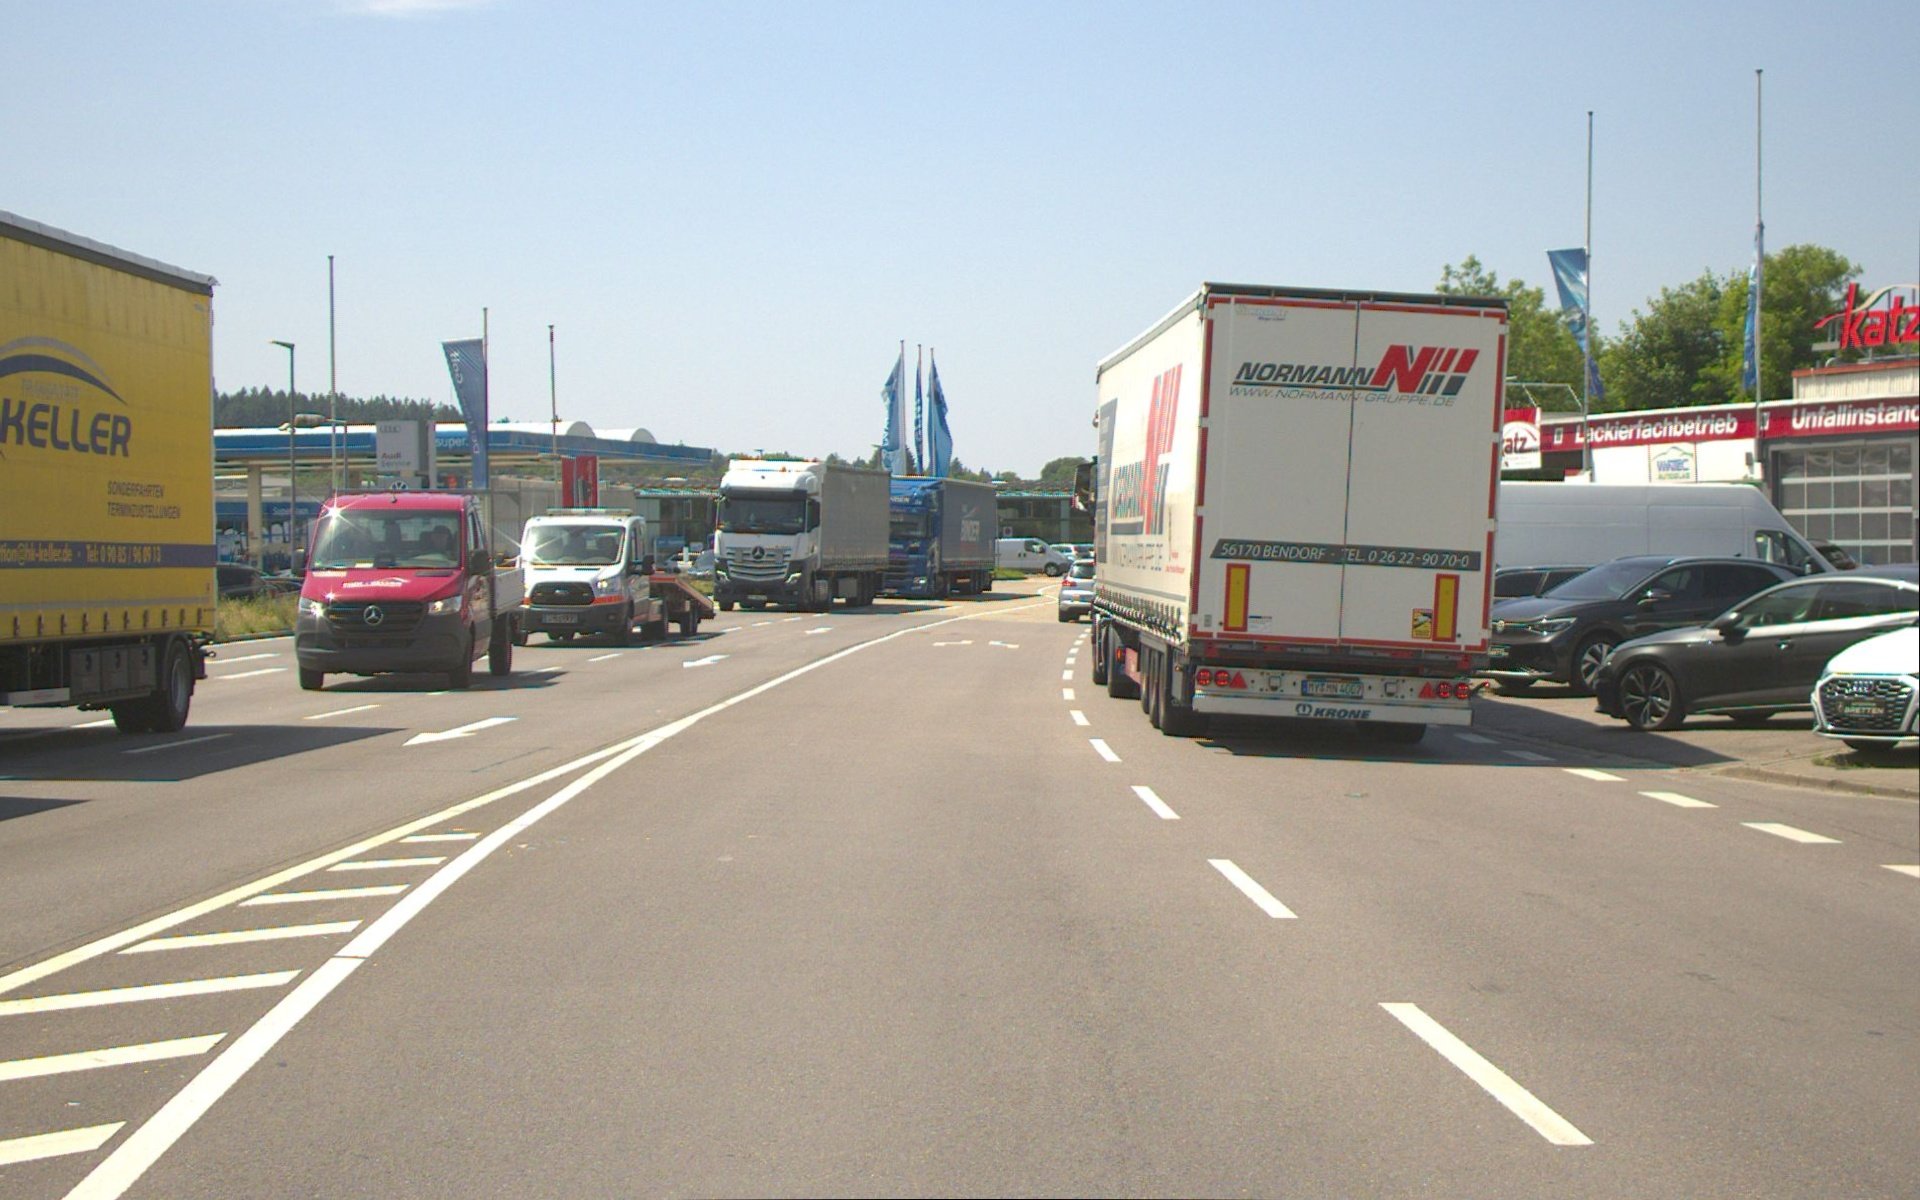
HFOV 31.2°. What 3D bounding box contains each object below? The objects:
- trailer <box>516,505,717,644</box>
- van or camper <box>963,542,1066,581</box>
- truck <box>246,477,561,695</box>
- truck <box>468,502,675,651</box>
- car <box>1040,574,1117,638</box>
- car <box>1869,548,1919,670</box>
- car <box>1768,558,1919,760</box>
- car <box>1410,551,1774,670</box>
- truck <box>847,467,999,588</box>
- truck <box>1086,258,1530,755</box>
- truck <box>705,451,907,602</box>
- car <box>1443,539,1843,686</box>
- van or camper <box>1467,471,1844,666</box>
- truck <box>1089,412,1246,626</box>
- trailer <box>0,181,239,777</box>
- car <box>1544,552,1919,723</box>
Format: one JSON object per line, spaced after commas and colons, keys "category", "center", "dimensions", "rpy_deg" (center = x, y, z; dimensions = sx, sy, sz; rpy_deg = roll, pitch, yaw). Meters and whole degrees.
{"category": "trailer", "center": [-6.235, -0.490, 63.378], "dimensions": [2.428, 2.330, 6.896], "rpy_deg": [-2, 1, 4]}
{"category": "van or camper", "center": [2.733, -1.912, 171.450], "dimensions": [4.849, 1.898, 1.903], "rpy_deg": [1, 0, 11]}
{"category": "truck", "center": [-6.698, -0.183, 42.343], "dimensions": [2.396, 2.436, 6.871], "rpy_deg": [1, 0, 3]}
{"category": "truck", "center": [-6.570, -0.427, 58.886], "dimensions": [2.425, 2.332, 5.674], "rpy_deg": [-2, 1, 4]}
{"category": "car", "center": [3.040, 0.141, 89.147], "dimensions": [1.923, 1.605, 4.095], "rpy_deg": [0, 0, 1]}
{"category": "car", "center": [13.111, 0.073, 45.676], "dimensions": [1.810, 1.523, 4.379], "rpy_deg": [-1, 1, 13]}
{"category": "car", "center": [8.745, 0.307, 27.374], "dimensions": [4.462, 1.404, 1.746], "rpy_deg": [-6, 3, -31]}
{"category": "car", "center": [8.187, 0.123, 44.831], "dimensions": [4.325, 1.494, 2.082], "rpy_deg": [0, 1, -1]}
{"category": "truck", "center": [-1.110, -2.403, 119.181], "dimensions": [2.845, 3.876, 17.000], "rpy_deg": [1, 0, 8]}
{"category": "truck", "center": [3.197, -0.890, 37.255], "dimensions": [2.973, 4.079, 17.635], "rpy_deg": [1, 1, 0]}
{"category": "truck", "center": [-4.094, -1.953, 96.734], "dimensions": [2.791, 3.876, 16.478], "rpy_deg": [1, 0, 8]}
{"category": "car", "center": [8.239, 0.122, 41.476], "dimensions": [4.325, 1.619, 2.062], "rpy_deg": [-2, 1, -26]}
{"category": "van or camper", "center": [10.546, -0.485, 52.473], "dimensions": [5.369, 2.895, 2.232], "rpy_deg": [0, 1, 4]}
{"category": "truck", "center": [3.961, -1.546, 68.213], "dimensions": [2.648, 3.793, 13.359], "rpy_deg": [-1, 1, 2]}
{"category": "trailer", "center": [-8.311, -0.882, 26.477], "dimensions": [3.011, 4.272, 10.058], "rpy_deg": [-1, 1, 2]}
{"category": "car", "center": [7.897, 0.319, 31.115], "dimensions": [1.923, 1.382, 4.932], "rpy_deg": [-3, -1, -43]}
